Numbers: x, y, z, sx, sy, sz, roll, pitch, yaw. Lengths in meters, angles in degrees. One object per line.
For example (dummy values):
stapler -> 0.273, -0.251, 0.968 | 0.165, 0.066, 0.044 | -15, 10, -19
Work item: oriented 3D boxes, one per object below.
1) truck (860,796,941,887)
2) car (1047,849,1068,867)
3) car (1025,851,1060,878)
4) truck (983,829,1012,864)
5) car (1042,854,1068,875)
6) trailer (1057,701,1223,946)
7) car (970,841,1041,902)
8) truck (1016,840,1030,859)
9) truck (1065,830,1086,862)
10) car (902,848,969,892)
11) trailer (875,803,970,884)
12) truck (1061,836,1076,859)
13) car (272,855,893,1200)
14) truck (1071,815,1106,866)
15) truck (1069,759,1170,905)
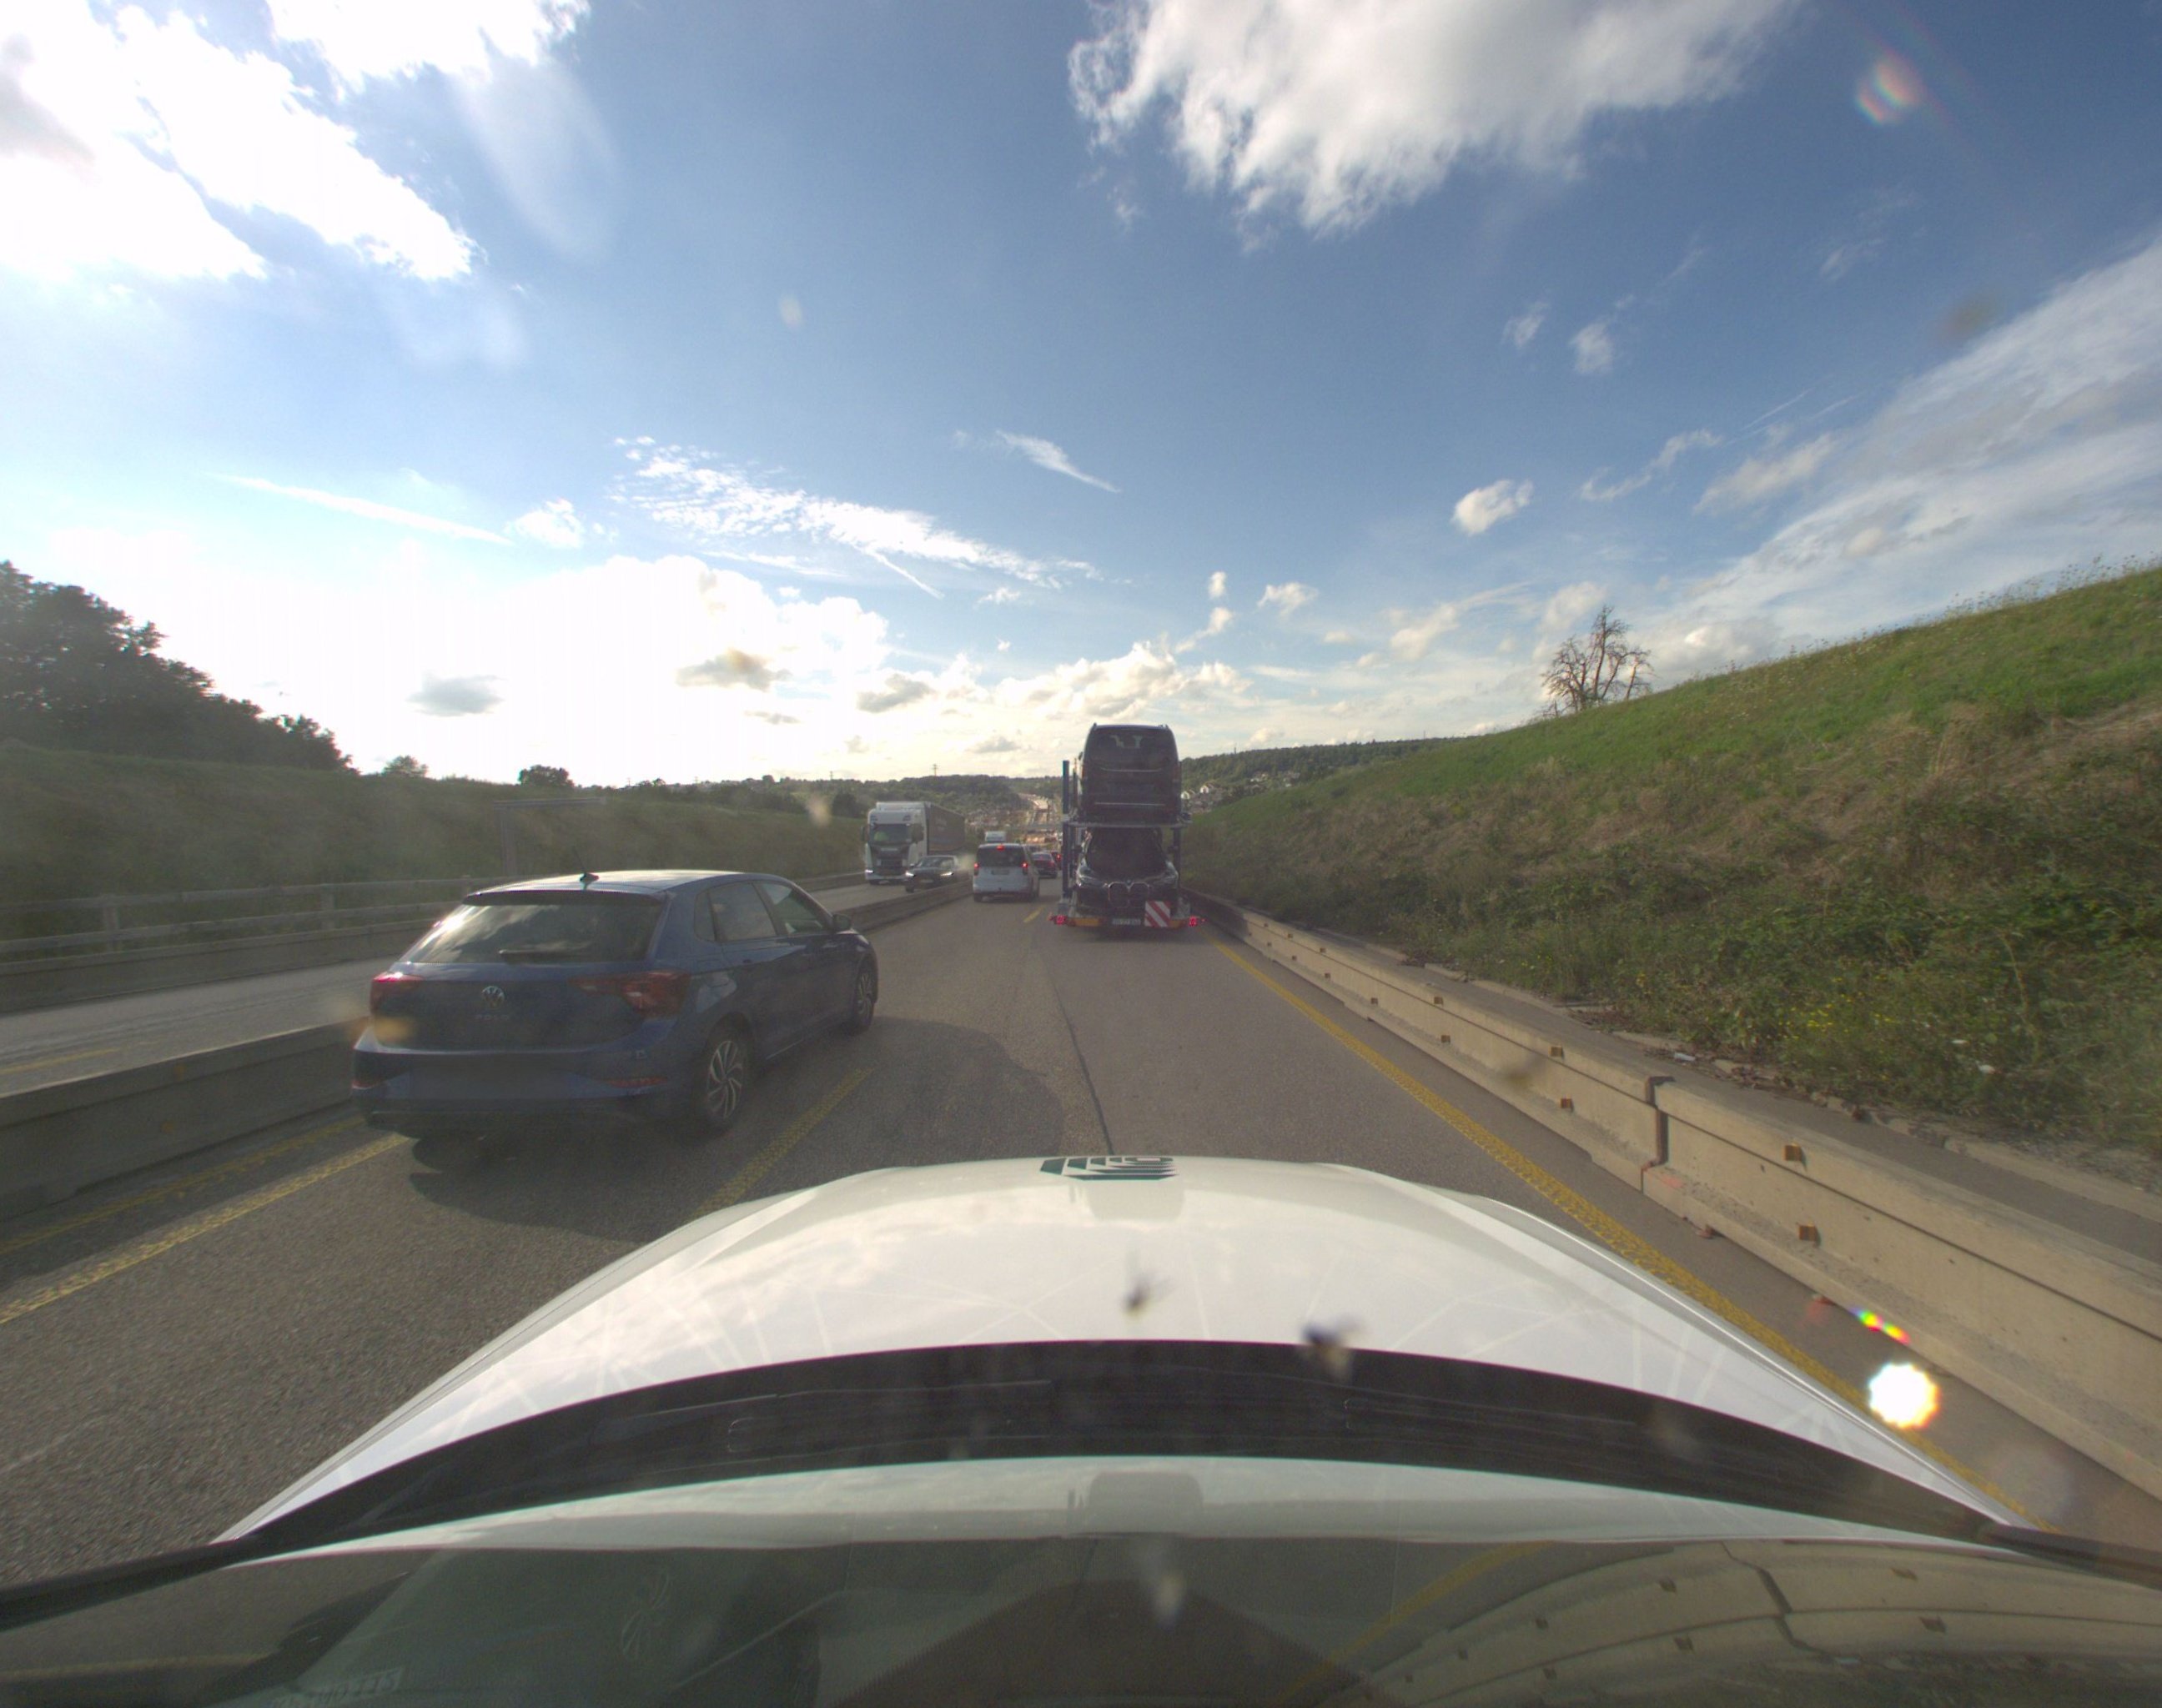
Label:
truck -> -8.817, -0.597, 40.392 | 2.606, 4.153, 5.781 | -1, 0, 0
car -> -2.160, 0.356, 75.279 | 1.790, 1.596, 4.742 | -1, 0, 0
car -> -2.206, 0.582, 47.485 | 1.817, 1.492, 4.684 | 0, 1, 0
truck -> -10.183, -0.894, 100.431 | 2.631, 4.099, 10.813 | -1, 0, -1
car -> -2.135, 0.826, 68.423 | 1.987, 1.625, 4.749 | -2, 0, -1
trailer -> 1.065, -0.529, 19.265 | 2.699, 4.029, 11.420 | -1, 0, 1
car -> -2.378, 0.493, 26.602 | 1.817, 1.823, 4.457 | 0, 1, 1
truck -> -13.301, -1.032, 188.338 | 2.631, 4.099, 10.813 | -1, 0, -1
truck -> -0.957, -1.198, 123.096 | 2.856, 4.570, 11.650 | -1, 0, -1
car -> -5.658, 0.614, 32.122 | 1.814, 1.603, 4.001 | 0, -1, 2
trailer -> -8.753, -0.562, 46.995 | 2.606, 3.953, 13.873 | -1, 0, 0
truck -> -2.696, -1.271, 170.495 | 2.856, 4.570, 11.650 | -1, 0, -1
car -> -2.679, 0.773, 5.613 | 1.708, 1.508, 4.002 | 0, 0, 2
truck -> 0.604, -1.232, 78.348 | 2.856, 4.570, 11.650 | -1, 0, -1
truck -> 1.060, -0.604, 25.084 | 2.669, 3.922, 6.027 | -1, 0, 0
